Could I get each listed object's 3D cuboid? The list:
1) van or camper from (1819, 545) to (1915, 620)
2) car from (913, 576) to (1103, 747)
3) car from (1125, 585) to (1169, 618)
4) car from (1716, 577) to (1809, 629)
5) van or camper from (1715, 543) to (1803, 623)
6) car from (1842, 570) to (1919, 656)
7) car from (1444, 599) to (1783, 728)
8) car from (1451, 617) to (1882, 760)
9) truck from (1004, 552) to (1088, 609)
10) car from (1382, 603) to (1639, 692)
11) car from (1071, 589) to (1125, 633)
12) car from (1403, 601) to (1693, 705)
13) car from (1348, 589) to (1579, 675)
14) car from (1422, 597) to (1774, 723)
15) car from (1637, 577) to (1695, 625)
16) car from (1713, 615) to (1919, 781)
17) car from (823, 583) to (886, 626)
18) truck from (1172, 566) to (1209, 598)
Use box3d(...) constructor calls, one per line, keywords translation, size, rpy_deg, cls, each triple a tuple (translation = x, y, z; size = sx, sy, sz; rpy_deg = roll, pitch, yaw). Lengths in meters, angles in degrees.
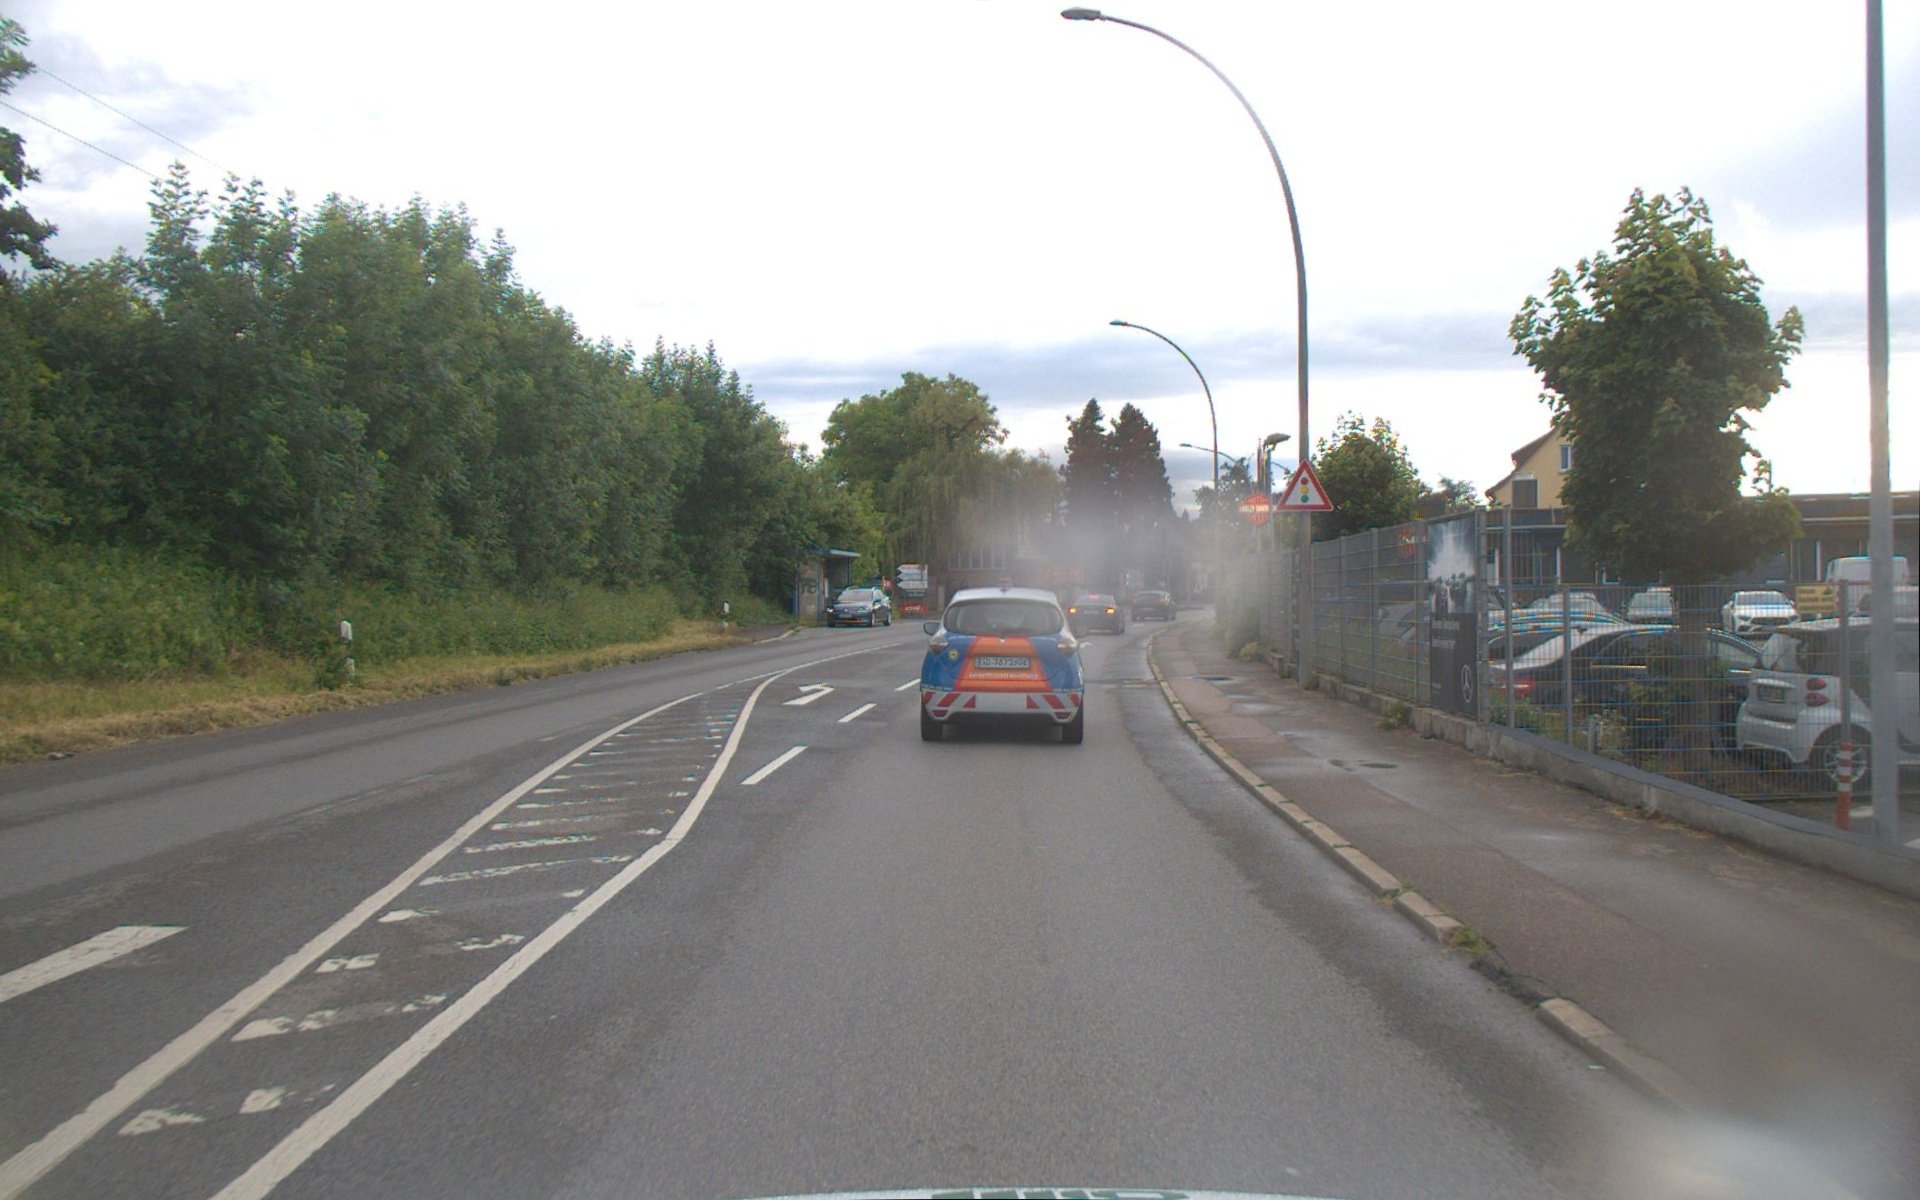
box3d(translation=(26.825, -0.475, 49.070), size=(1.953, 1.972, 5.428), rpy_deg=(1, -1, 23), cls="van or camper")
box3d(translation=(0.548, 0.591, 18.206), size=(1.849, 1.660, 4.001), rpy_deg=(0, 0, 2), cls="car")
box3d(translation=(9.025, 0.081, 79.453), size=(1.951, 1.445, 4.003), rpy_deg=(2, -1, 8), cls="car")
box3d(translation=(24.949, 0.129, 51.565), size=(1.851, 1.445, 4.468), rpy_deg=(2, -1, 16), cls="car")
box3d(translation=(27.747, -0.605, 57.593), size=(2.285, 2.601, 5.741), rpy_deg=(-1, 0, 21), cls="van or camper")
box3d(translation=(17.241, 0.286, 29.741), size=(1.953, 1.445, 3.999), rpy_deg=(1, -1, 21), cls="car")
box3d(translation=(9.210, 0.878, 23.604), size=(4.085, 1.626, 1.970), rpy_deg=(2, -1, 5), cls="car")
box3d(translation=(7.869, 0.965, 18.737), size=(4.022, 1.394, 2.000), rpy_deg=(2, -1, 2), cls="car")
box3d(translation=(5.945, -1.271, 112.363), size=(2.643, 3.471, 9.068), rpy_deg=(1, -1, 23), cls="truck")
box3d(translation=(9.398, 0.797, 28.503), size=(3.902, 1.459, 1.827), rpy_deg=(0, 0, 6), cls="car")
box3d(translation=(4.815, 0.408, 57.472), size=(1.684, 1.400, 3.936), rpy_deg=(2, -1, 7), cls="car")
box3d(translation=(9.107, 0.811, 25.908), size=(3.902, 1.428, 2.001), rpy_deg=(2, -1, 6), cls="car")
box3d(translation=(9.278, 0.589, 30.752), size=(3.902, 1.428, 1.791), rpy_deg=(2, -1, 10), cls="car")
box3d(translation=(8.138, 0.752, 21.301), size=(3.906, 1.433, 1.593), rpy_deg=(2, -1, -1), cls="car")
box3d(translation=(24.605, 0.004, 57.724), size=(1.603, 1.599, 3.397), rpy_deg=(-1, 0, 19), cls="car")
box3d(translation=(9.232, 0.910, 16.350), size=(2.662, 1.470, 2.001), rpy_deg=(-2, -1, 3), cls="car")
box3d(translation=(-4.000, 0.196, 63.242), size=(1.952, 1.500, 4.701), rpy_deg=(2, -1, 1), cls="car")
box3d(translation=(22.885, -1.737, 163.693), size=(2.345, 2.978, 5.957), rpy_deg=(1, 0, 20), cls="truck")
